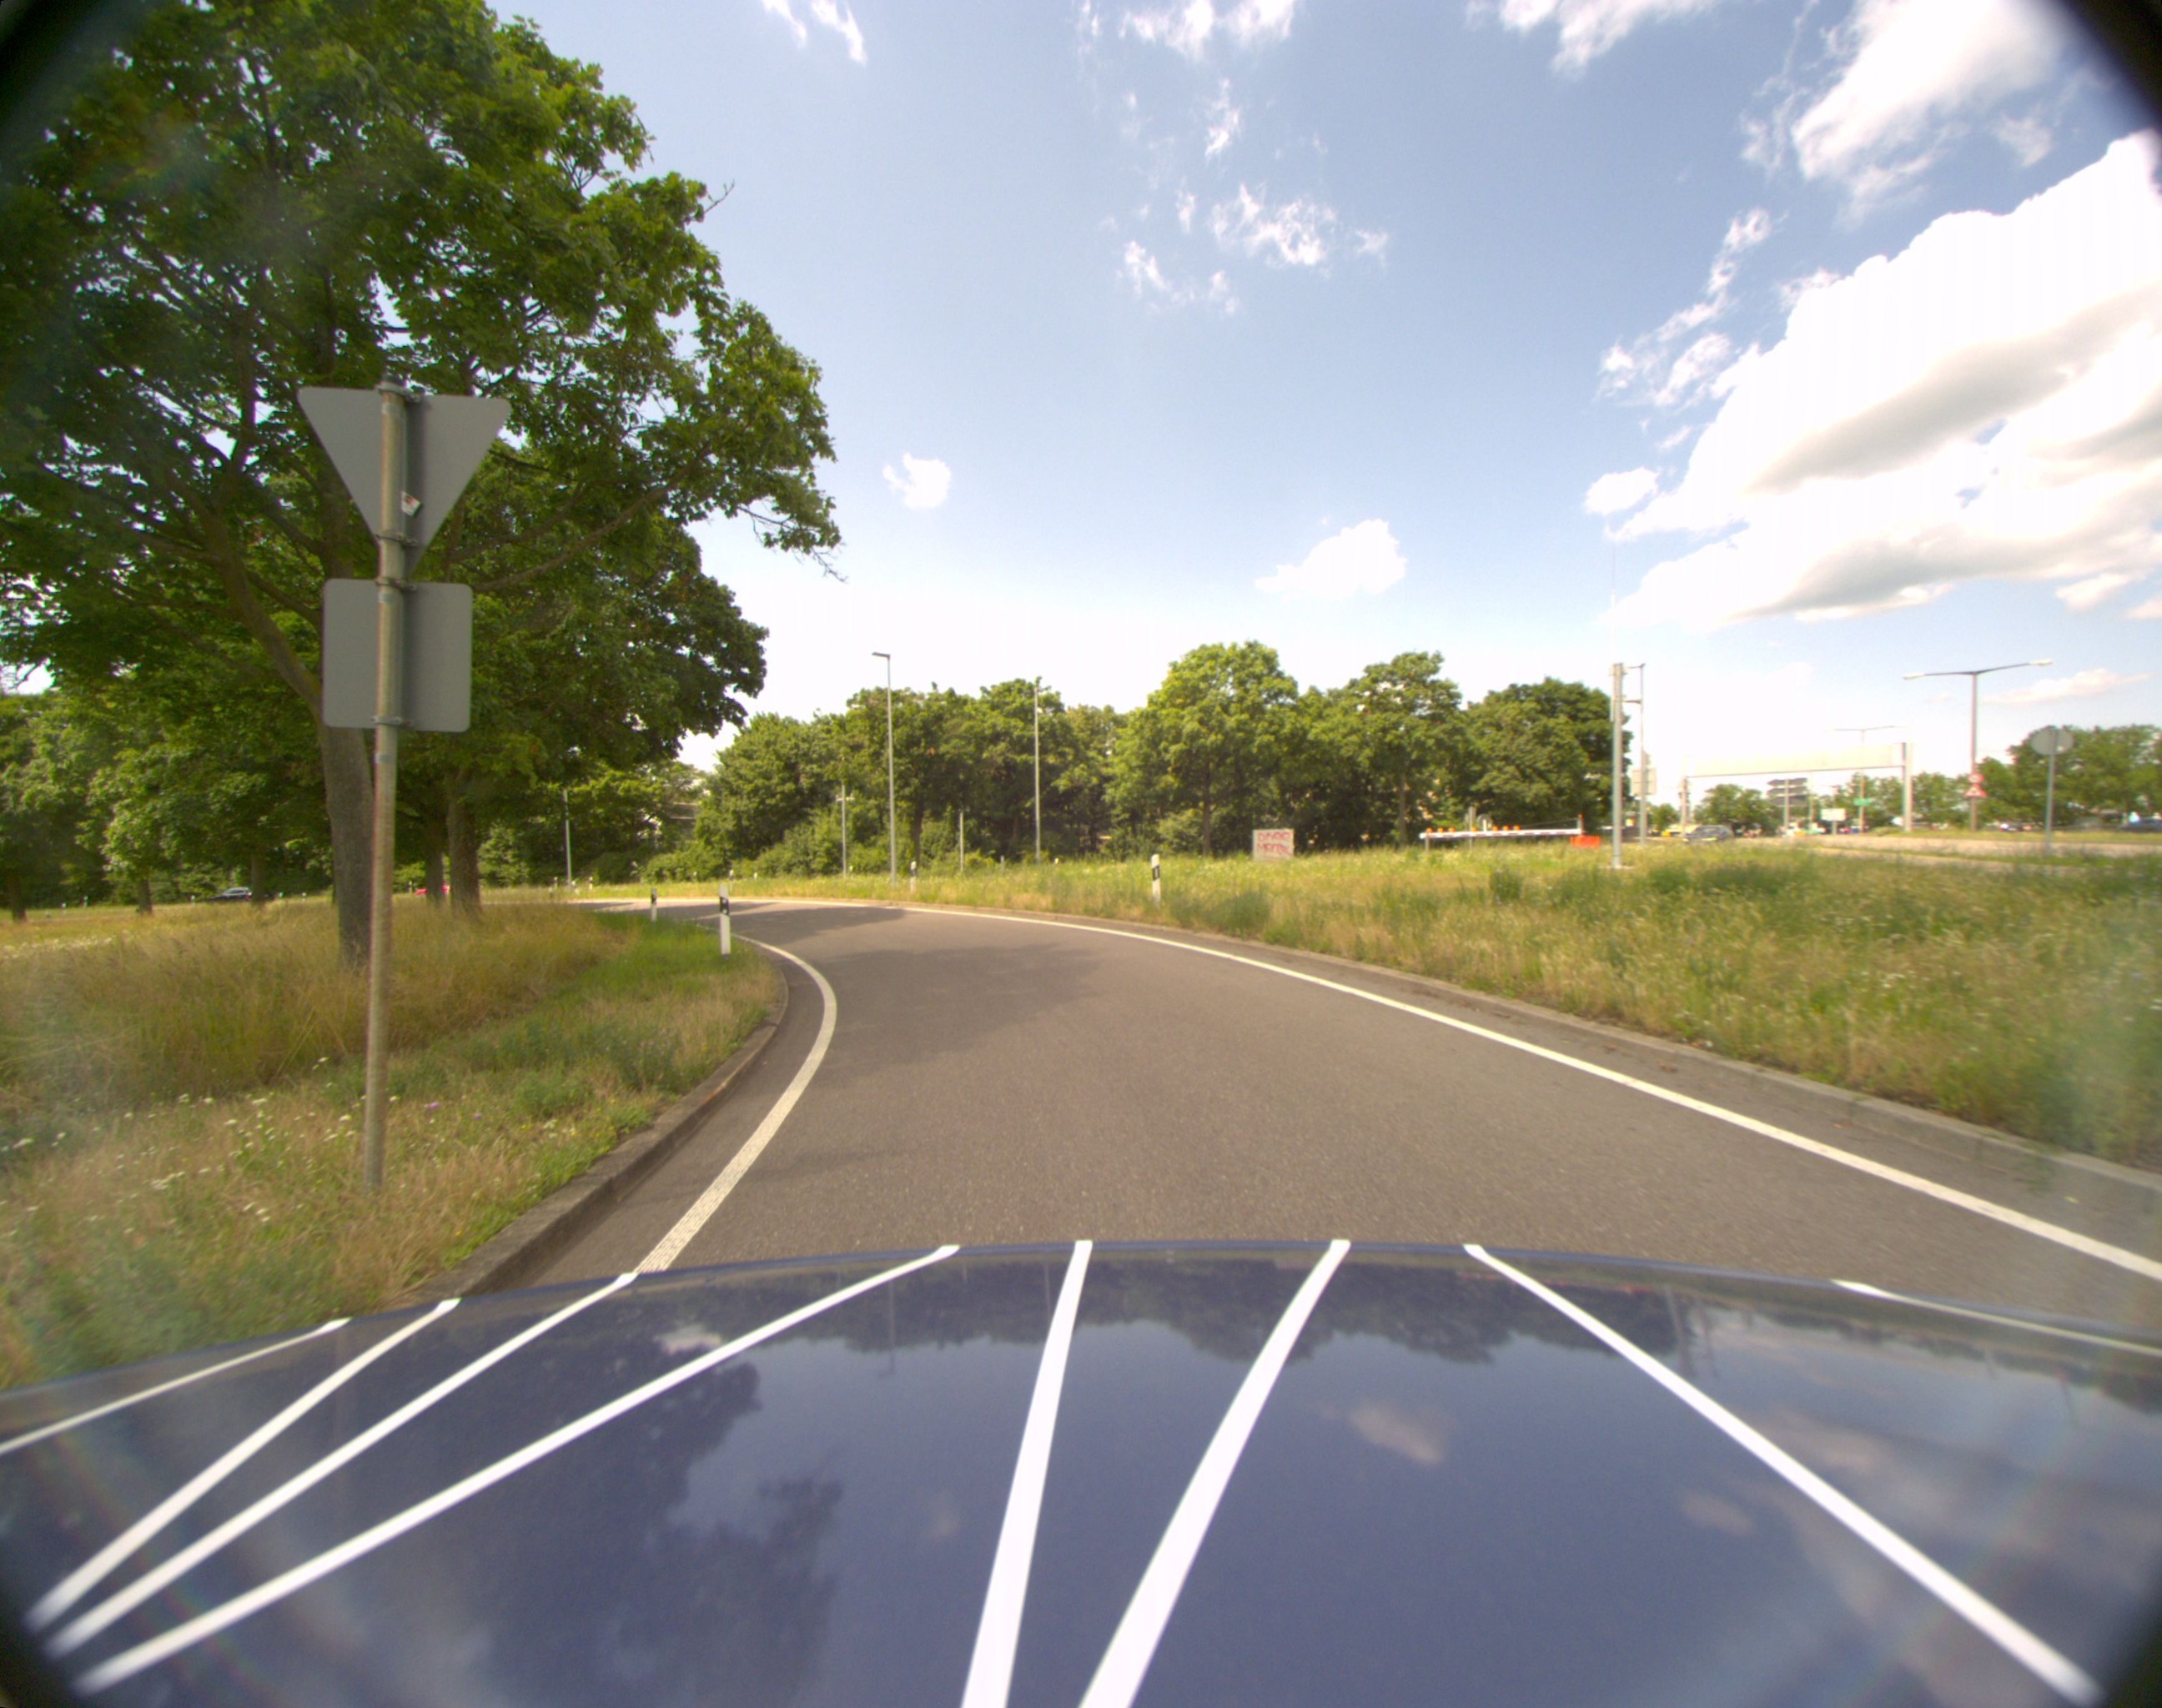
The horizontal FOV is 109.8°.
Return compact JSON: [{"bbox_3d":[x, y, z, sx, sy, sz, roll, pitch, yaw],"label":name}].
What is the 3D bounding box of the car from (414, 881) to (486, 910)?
[{"bbox_3d":[-49.362,3.258,59.463,3.996,2.002,2.000,-2,1,4],"label":"car"}]
